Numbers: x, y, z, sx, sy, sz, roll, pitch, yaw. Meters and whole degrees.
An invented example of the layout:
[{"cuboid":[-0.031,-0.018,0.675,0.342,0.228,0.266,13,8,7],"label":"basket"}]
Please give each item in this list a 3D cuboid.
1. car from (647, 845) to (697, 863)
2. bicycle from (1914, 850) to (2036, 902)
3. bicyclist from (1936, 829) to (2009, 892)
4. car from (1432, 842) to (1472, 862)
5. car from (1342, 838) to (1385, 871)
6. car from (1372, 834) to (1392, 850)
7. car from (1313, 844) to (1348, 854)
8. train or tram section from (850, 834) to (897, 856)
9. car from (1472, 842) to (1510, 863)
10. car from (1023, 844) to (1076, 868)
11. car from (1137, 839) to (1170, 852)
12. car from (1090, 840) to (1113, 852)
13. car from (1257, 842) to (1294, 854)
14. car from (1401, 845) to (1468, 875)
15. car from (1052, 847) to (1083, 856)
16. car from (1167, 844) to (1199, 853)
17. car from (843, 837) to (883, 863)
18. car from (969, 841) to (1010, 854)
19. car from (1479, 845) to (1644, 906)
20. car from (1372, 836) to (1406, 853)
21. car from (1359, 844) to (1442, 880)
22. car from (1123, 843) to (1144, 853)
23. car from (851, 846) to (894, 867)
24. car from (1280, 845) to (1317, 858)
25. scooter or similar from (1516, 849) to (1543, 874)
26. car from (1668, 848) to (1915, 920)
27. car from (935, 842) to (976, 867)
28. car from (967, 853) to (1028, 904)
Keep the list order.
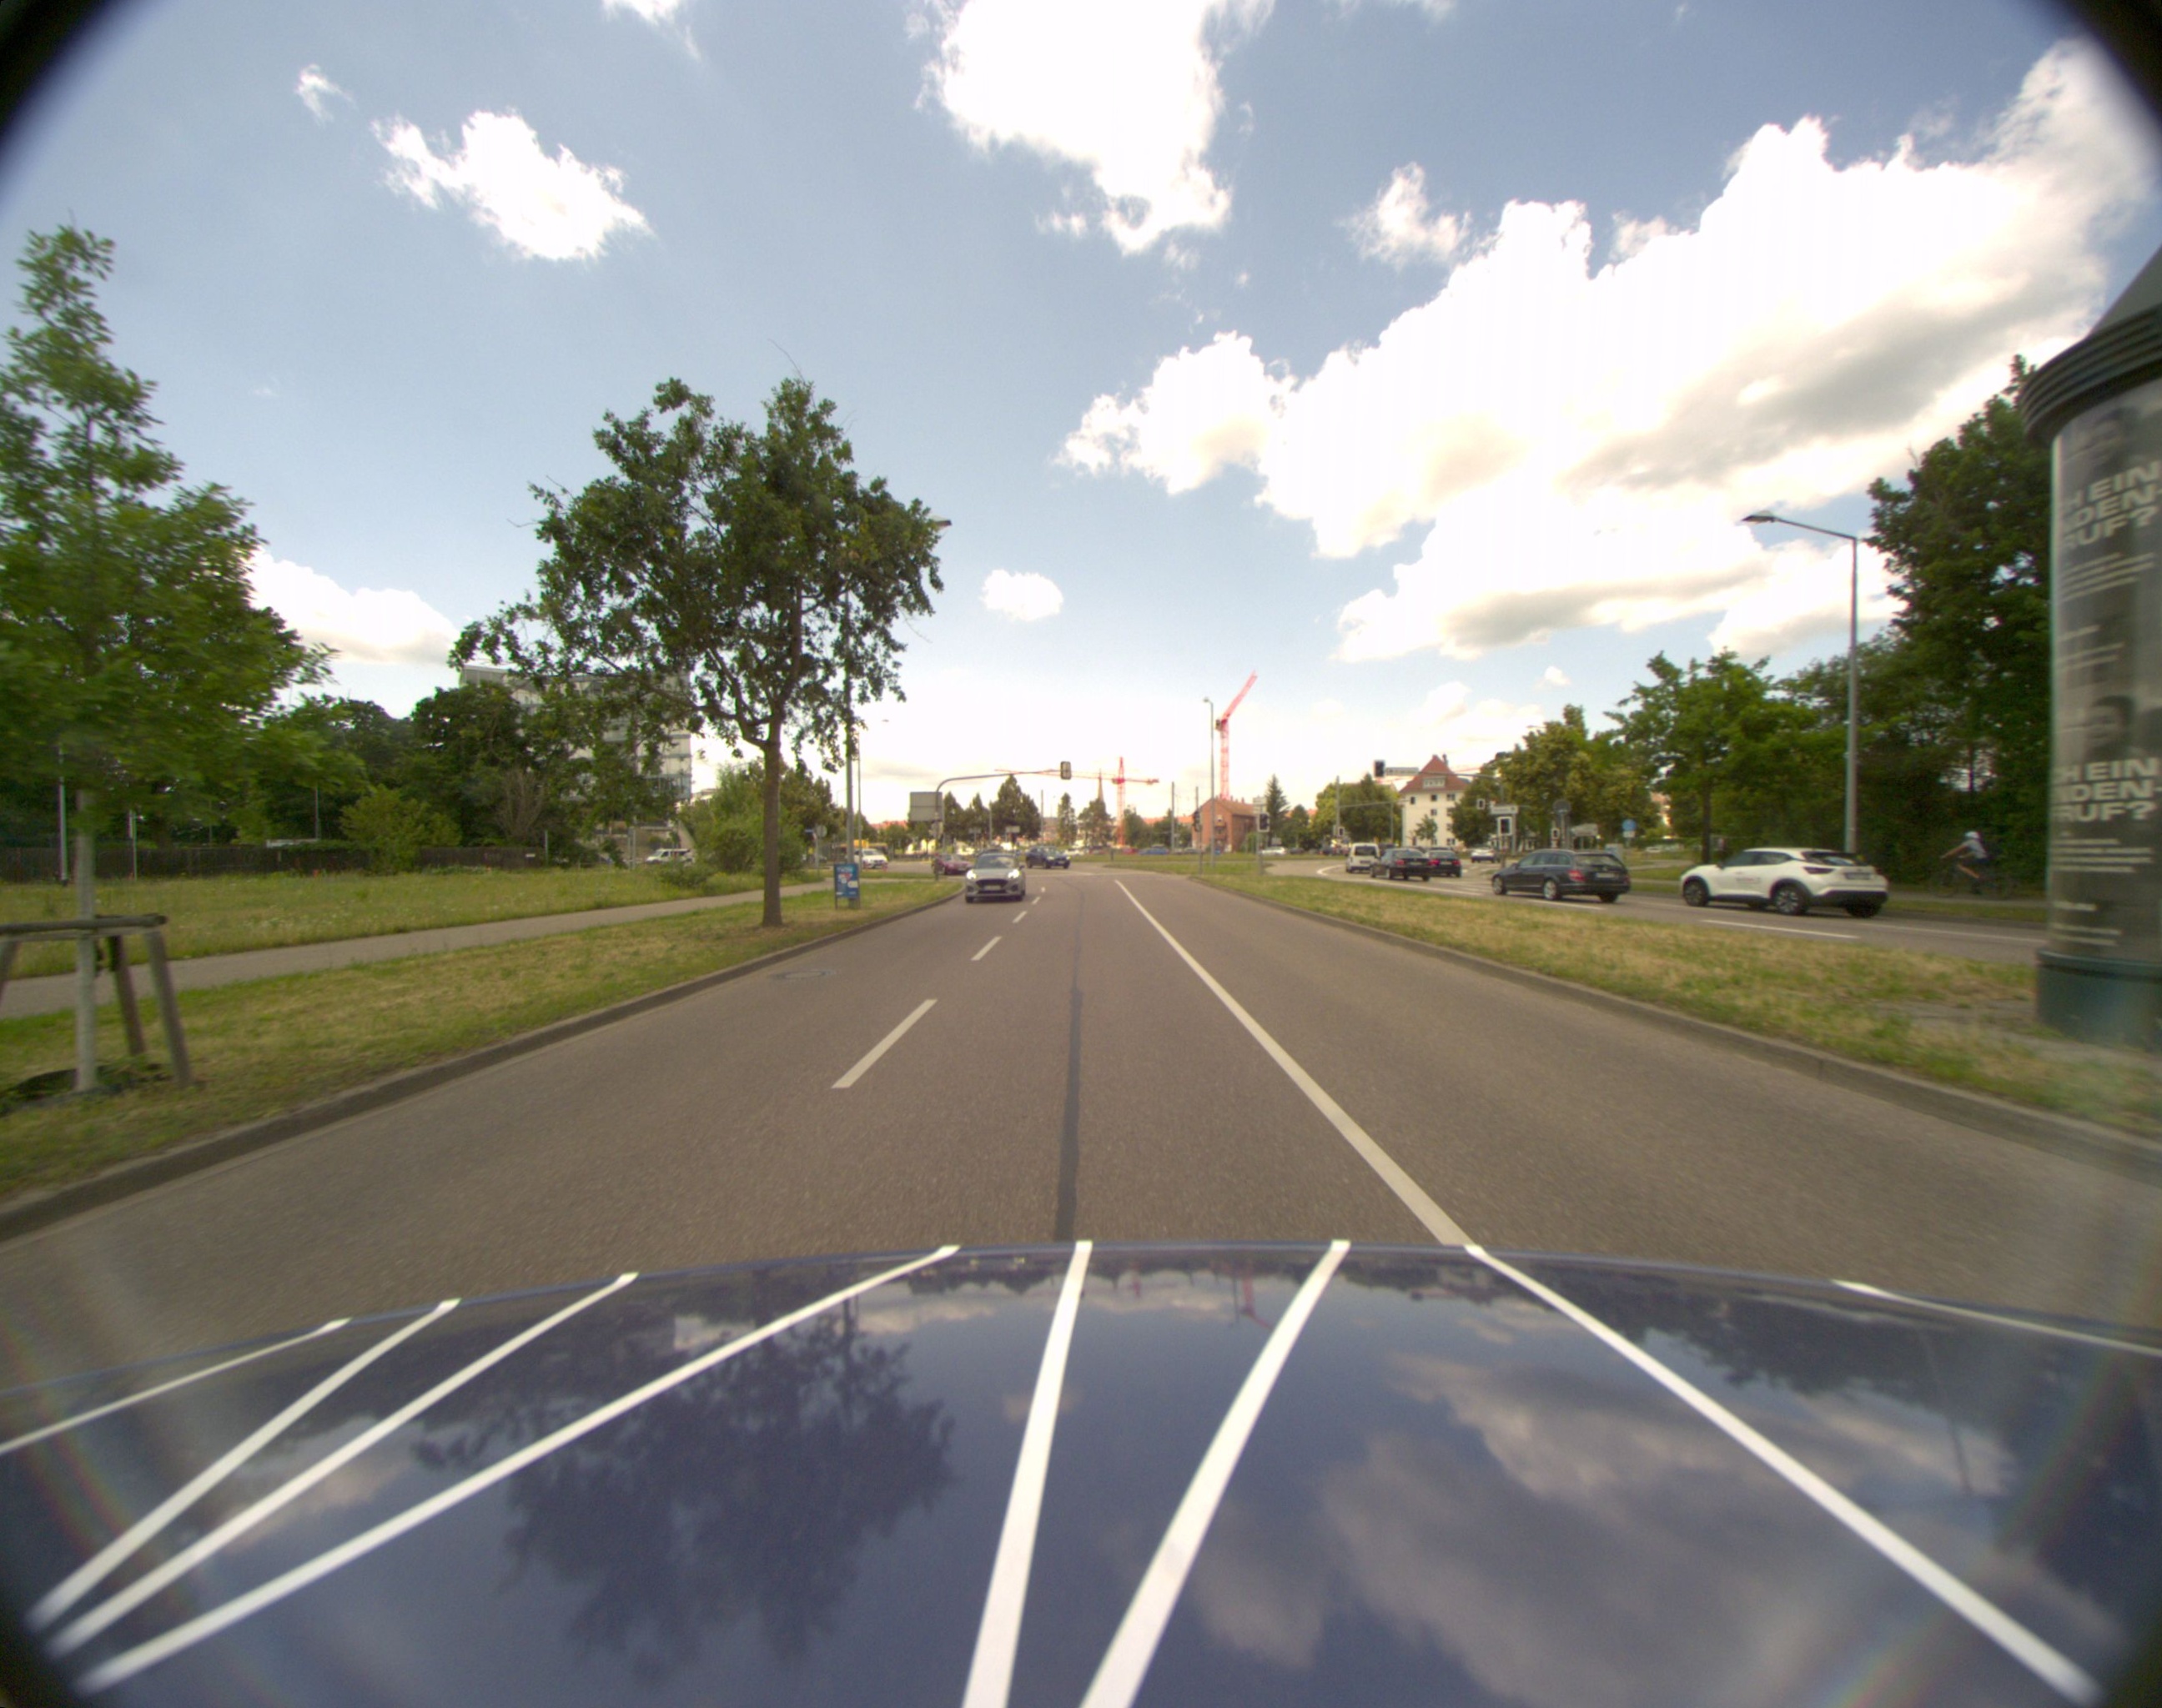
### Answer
[{"cuboid":[-51.426,-0.046,95.589,2.143,2.135,5.160,-1,1,30],"label":"car"},{"cuboid":[23.010,0.540,19.620,0.763,1.212,2.016,-3,1,1],"label":"bicycle"},{"cuboid":[22.984,0.166,19.609,0.832,1.556,0.883,-3,1,0],"label":"bicyclist"},{"cuboid":[25.650,-0.152,52.484,1.616,1.340,4.179,2,2,38],"label":"car"},{"cuboid":[16.352,-0.006,44.178,1.840,1.789,4.792,1,1,15],"label":"car"},{"cuboid":[32.409,-1.317,81.898,1.909,1.583,4.598,0,1,21],"label":"car"},{"cuboid":[32.554,-0.671,99.215,1.807,1.333,3.967,0,1,-42],"label":"car"},{"cuboid":[-38.762,-1.632,141.414,2.857,3.718,13.438,-2,1,-41],"label":"train or tram section"},{"cuboid":[34.411,-0.134,63.703,1.994,1.677,4.797,0,1,39],"label":"car"},{"cuboid":[-2.271,0.114,54.354,1.778,1.590,4.116,-4,3,-36],"label":"car"},{"cuboid":[10.483,-1.251,109.741,4.399,1.788,1.758,-1,1,17],"label":"car"},{"cuboid":[3.958,-1.543,147.206,2.396,2.185,6.827,-1,1,-17],"label":"car"},{"cuboid":[27.215,-0.819,106.467,2.128,1.513,4.494,-2,1,-45],"label":"car"},{"cuboid":[19.036,0.281,41.137,1.842,1.435,4.420,1,1,5],"label":"car"},{"cuboid":[-1.951,-0.353,109.881,4.309,1.322,1.999,-1,1,-3],"label":"car"},{"cuboid":[15.176,-0.811,112.738,4.483,1.315,1.956,-1,1,12],"label":"car"},{"cuboid":[-25.304,-0.454,88.569,2.283,2.837,7.256,0,1,3],"label":"car"},{"cuboid":[-12.267,-0.855,101.808,5.074,1.665,1.997,-1,1,-19],"label":"car"},{"cuboid":[13.918,0.538,22.430,1.726,1.582,5.012,0,1,1],"label":"car"},{"cuboid":[37.212,-1.161,91.924,1.999,2.002,4.786,-1,1,-1],"label":"car"},{"cuboid":[14.676,0.325,35.205,1.842,1.471,4.752,1,1,1],"label":"car"},{"cuboid":[10.313,-1.184,150.447,2.090,1.841,5.175,-1,1,-22],"label":"car"},{"cuboid":[-16.947,0.210,61.538,1.678,1.590,4.116,-4,2,-40],"label":"car"},{"cuboid":[31.016,-0.308,108.536,4.649,1.810,2.130,-1,1,43],"label":"car"},{"cuboid":[21.975,0.361,37.267,0.541,1.159,1.441,-1,1,5],"label":"scooter or similar"},{"cuboid":[16.940,0.632,18.496,1.915,1.532,4.368,0,1,1],"label":"car"},{"cuboid":[-7.820,0.058,47.039,1.677,1.253,4.087,1,-4,-22],"label":"car"},{"cuboid":[-2.704,0.755,25.373,1.674,1.462,4.091,-1,1,-1],"label":"car"}]
